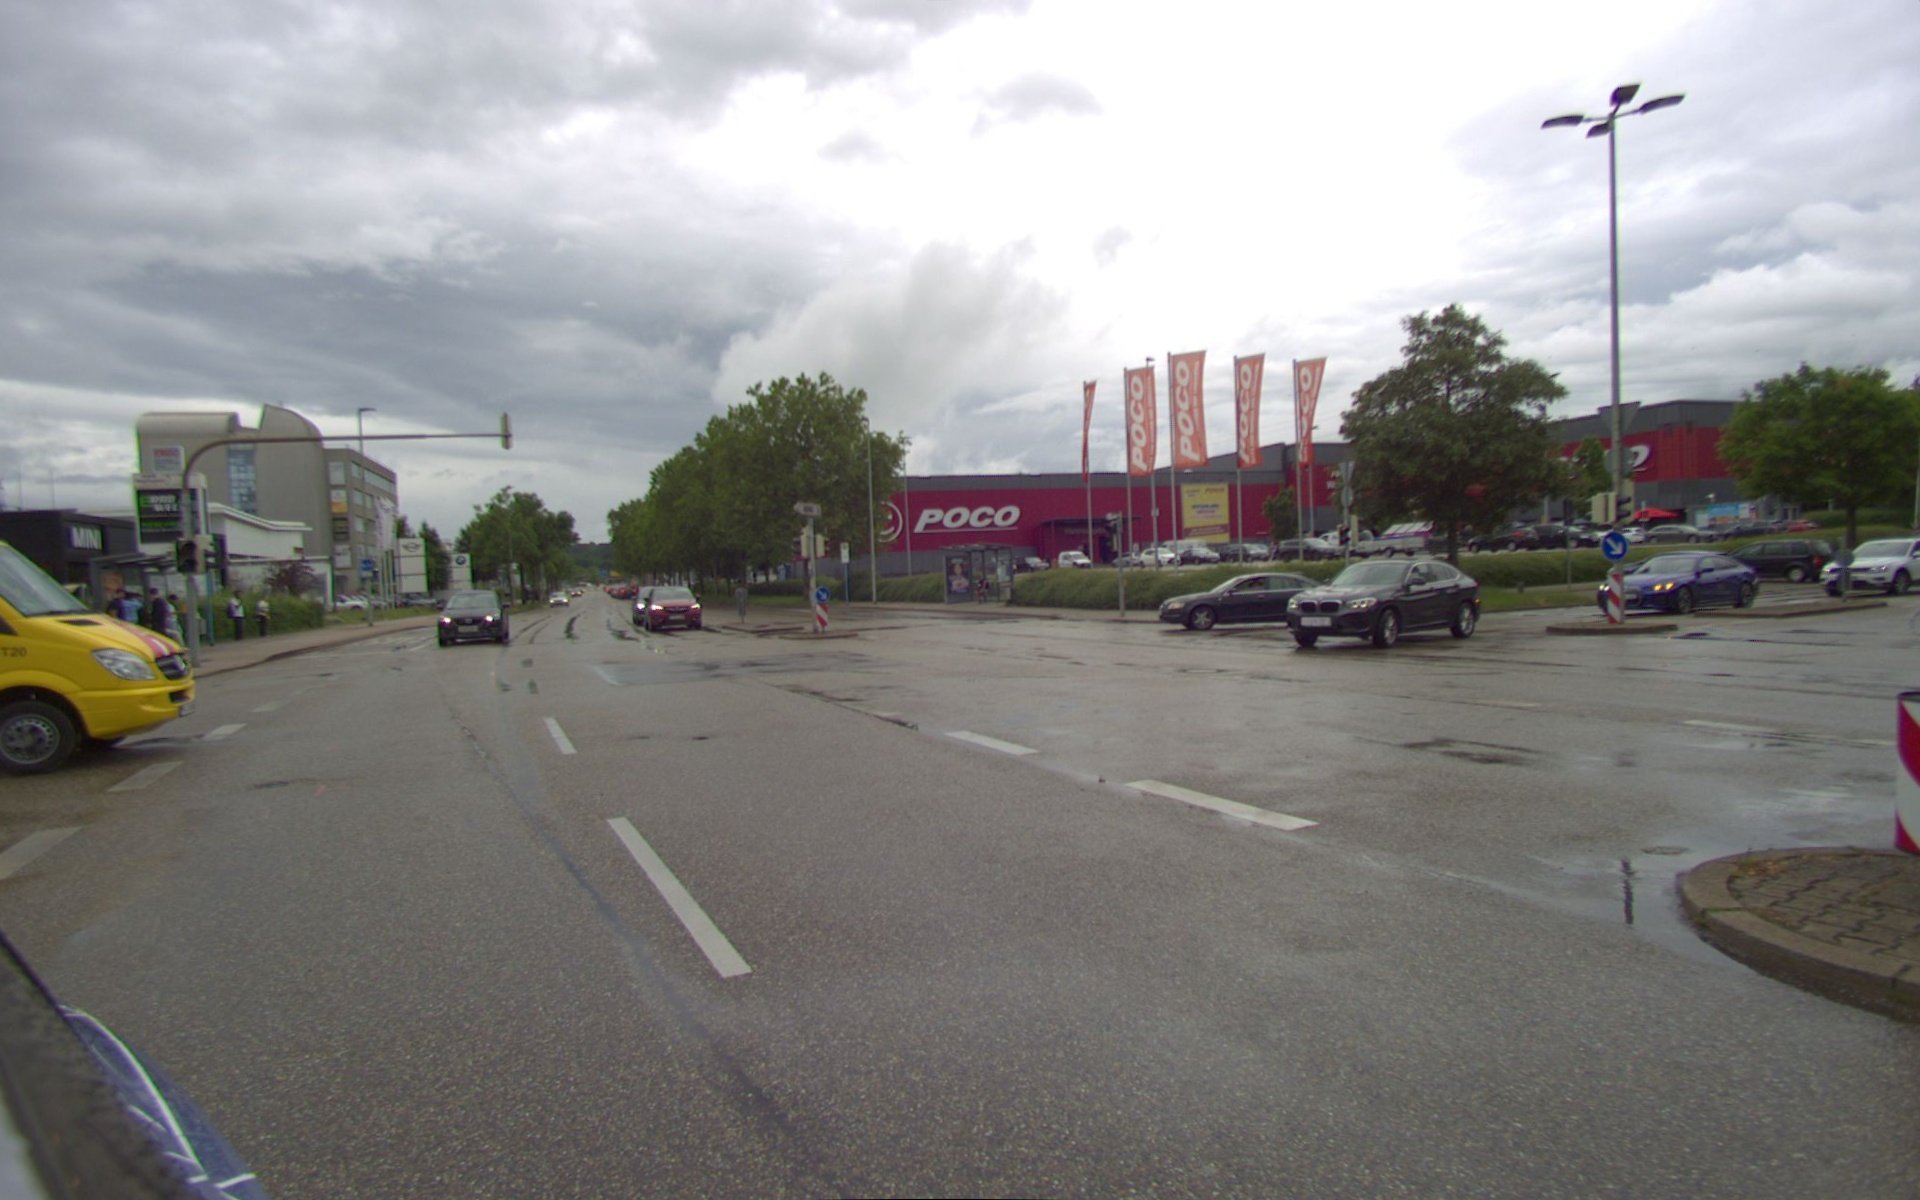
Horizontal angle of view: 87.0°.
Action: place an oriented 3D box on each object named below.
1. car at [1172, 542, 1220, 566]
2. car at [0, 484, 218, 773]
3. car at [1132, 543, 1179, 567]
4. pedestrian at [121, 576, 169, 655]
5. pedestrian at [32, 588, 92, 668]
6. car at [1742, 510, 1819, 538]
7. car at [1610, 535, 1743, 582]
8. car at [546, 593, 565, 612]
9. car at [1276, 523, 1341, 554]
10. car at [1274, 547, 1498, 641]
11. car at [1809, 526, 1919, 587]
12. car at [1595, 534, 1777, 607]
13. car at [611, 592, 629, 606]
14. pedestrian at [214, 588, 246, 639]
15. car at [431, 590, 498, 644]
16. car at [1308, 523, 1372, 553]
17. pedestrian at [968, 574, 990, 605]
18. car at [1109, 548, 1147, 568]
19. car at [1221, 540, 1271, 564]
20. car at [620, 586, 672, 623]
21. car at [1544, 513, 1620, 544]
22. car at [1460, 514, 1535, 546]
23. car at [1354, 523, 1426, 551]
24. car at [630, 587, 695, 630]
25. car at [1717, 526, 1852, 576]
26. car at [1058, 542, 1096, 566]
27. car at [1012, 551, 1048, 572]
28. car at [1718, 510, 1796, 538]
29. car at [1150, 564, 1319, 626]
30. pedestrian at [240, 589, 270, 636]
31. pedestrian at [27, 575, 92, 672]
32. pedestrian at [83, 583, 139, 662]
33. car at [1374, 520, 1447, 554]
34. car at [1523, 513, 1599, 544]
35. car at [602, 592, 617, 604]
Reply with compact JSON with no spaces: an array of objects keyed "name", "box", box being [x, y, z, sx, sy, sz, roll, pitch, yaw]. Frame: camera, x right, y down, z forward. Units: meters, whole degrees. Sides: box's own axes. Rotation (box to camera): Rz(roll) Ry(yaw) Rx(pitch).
[{"name":"car","box":[18.282,-3.565,78.476,1.644,1.657,3.976,-3,1,-21]},{"name":"car","box":[-10.082,0.335,9.192,4.929,2.492,2.254,-3,1,-25]},{"name":"car","box":[15.110,-3.450,78.327,1.644,1.657,3.976,-3,1,-21]},{"name":"pedestrian","box":[-21.523,0.408,26.745,0.729,2.029,0.699,-2,0,-18]},{"name":"pedestrian","box":[-20.601,0.617,23.214,0.694,1.788,0.808,0,1,28]},{"name":"car","box":[57.191,-5.308,70.602,1.644,1.657,3.839,-3,1,-21]},{"name":"car","box":[26.672,-1.526,37.797,1.656,1.564,3.672,-3,1,-28]},{"name":"car","box":[-39.854,0.270,99.624,1.593,1.741,3.690,-2,1,-23]},{"name":"car","box":[21.363,-3.740,62.215,1.644,1.657,3.839,-3,1,-21]},{"name":"car","box":[8.270,-0.160,19.514,4.517,1.564,1.906,-3,1,-36]},{"name":"car","box":[26.817,-1.273,28.973,3.932,1.564,1.907,-3,0,-16]},{"name":"car","box":[18.248,-0.751,25.409,4.473,1.645,1.807,-2,1,-27]},{"name":"car","box":[-41.846,-0.121,124.593,1.812,1.600,4.013,-2,1,-21]},{"name":"pedestrian","box":[-25.505,0.475,35.368,0.689,1.724,0.699,-2,0,-18]},{"name":"car","box":[-15.736,0.504,32.223,1.725,1.475,4.013,-4,2,-25]},{"name":"car","box":[23.901,-3.868,63.785,1.604,1.657,3.839,-3,1,-21]},{"name":"pedestrian","box":[0.901,-0.518,48.039,0.767,1.442,0.643,-2,0,-25]},{"name":"car","box":[15.578,-3.875,93.989,1.668,1.657,3.976,-3,1,-21]},{"name":"car","box":[22.582,-3.756,80.048,1.644,1.657,3.976,-3,1,-21]},{"name":"car","box":[-13.349,0.154,42.916,1.668,1.407,3.715,-3,2,-23]},{"name":"car","box":[39.330,-4.513,64.086,1.644,1.657,3.839,-3,1,-21]},{"name":"car","box":[32.381,-4.192,61.060,1.644,1.657,3.839,-3,1,-21]},{"name":"car","box":[25.433,-3.715,60.025,1.644,1.391,3.922,-3,1,-21]},{"name":"car","box":[-10.906,0.308,36.981,1.689,1.475,4.013,0,0,-25]},{"name":"car","box":[31.911,-1.858,39.282,1.656,1.737,3.672,-3,1,-28]},{"name":"car","box":[10.555,-4.140,91.877,1.761,1.940,3.762,-2,1,-22]},{"name":"car","box":[6.203,-3.446,90.573,1.668,1.657,3.976,-3,1,-21]},{"name":"car","box":[54.679,-5.192,69.514,1.644,1.657,3.839,-3,1,-21]},{"name":"car","box":[7.135,-0.140,26.626,3.949,1.414,1.786,-2,1,5]},{"name":"pedestrian","box":[-26.412,0.466,37.908,0.702,1.724,0.699,-2,0,-18]},{"name":"pedestrian","box":[-19.323,0.493,21.728,0.694,2.029,0.808,-1,1,28]},{"name":"pedestrian","box":[-20.640,0.521,24.608,0.802,1.870,0.699,-1,2,-18]},{"name":"car","box":[35.614,-4.941,80.205,1.795,2.320,5.666,-3,1,-21]},{"name":"car","box":[37.074,-4.395,62.541,1.644,1.657,3.839,-3,1,-21]},{"name":"car","box":[-49.627,-0.208,143.301,1.812,1.600,4.013,-2,1,-21]}]
